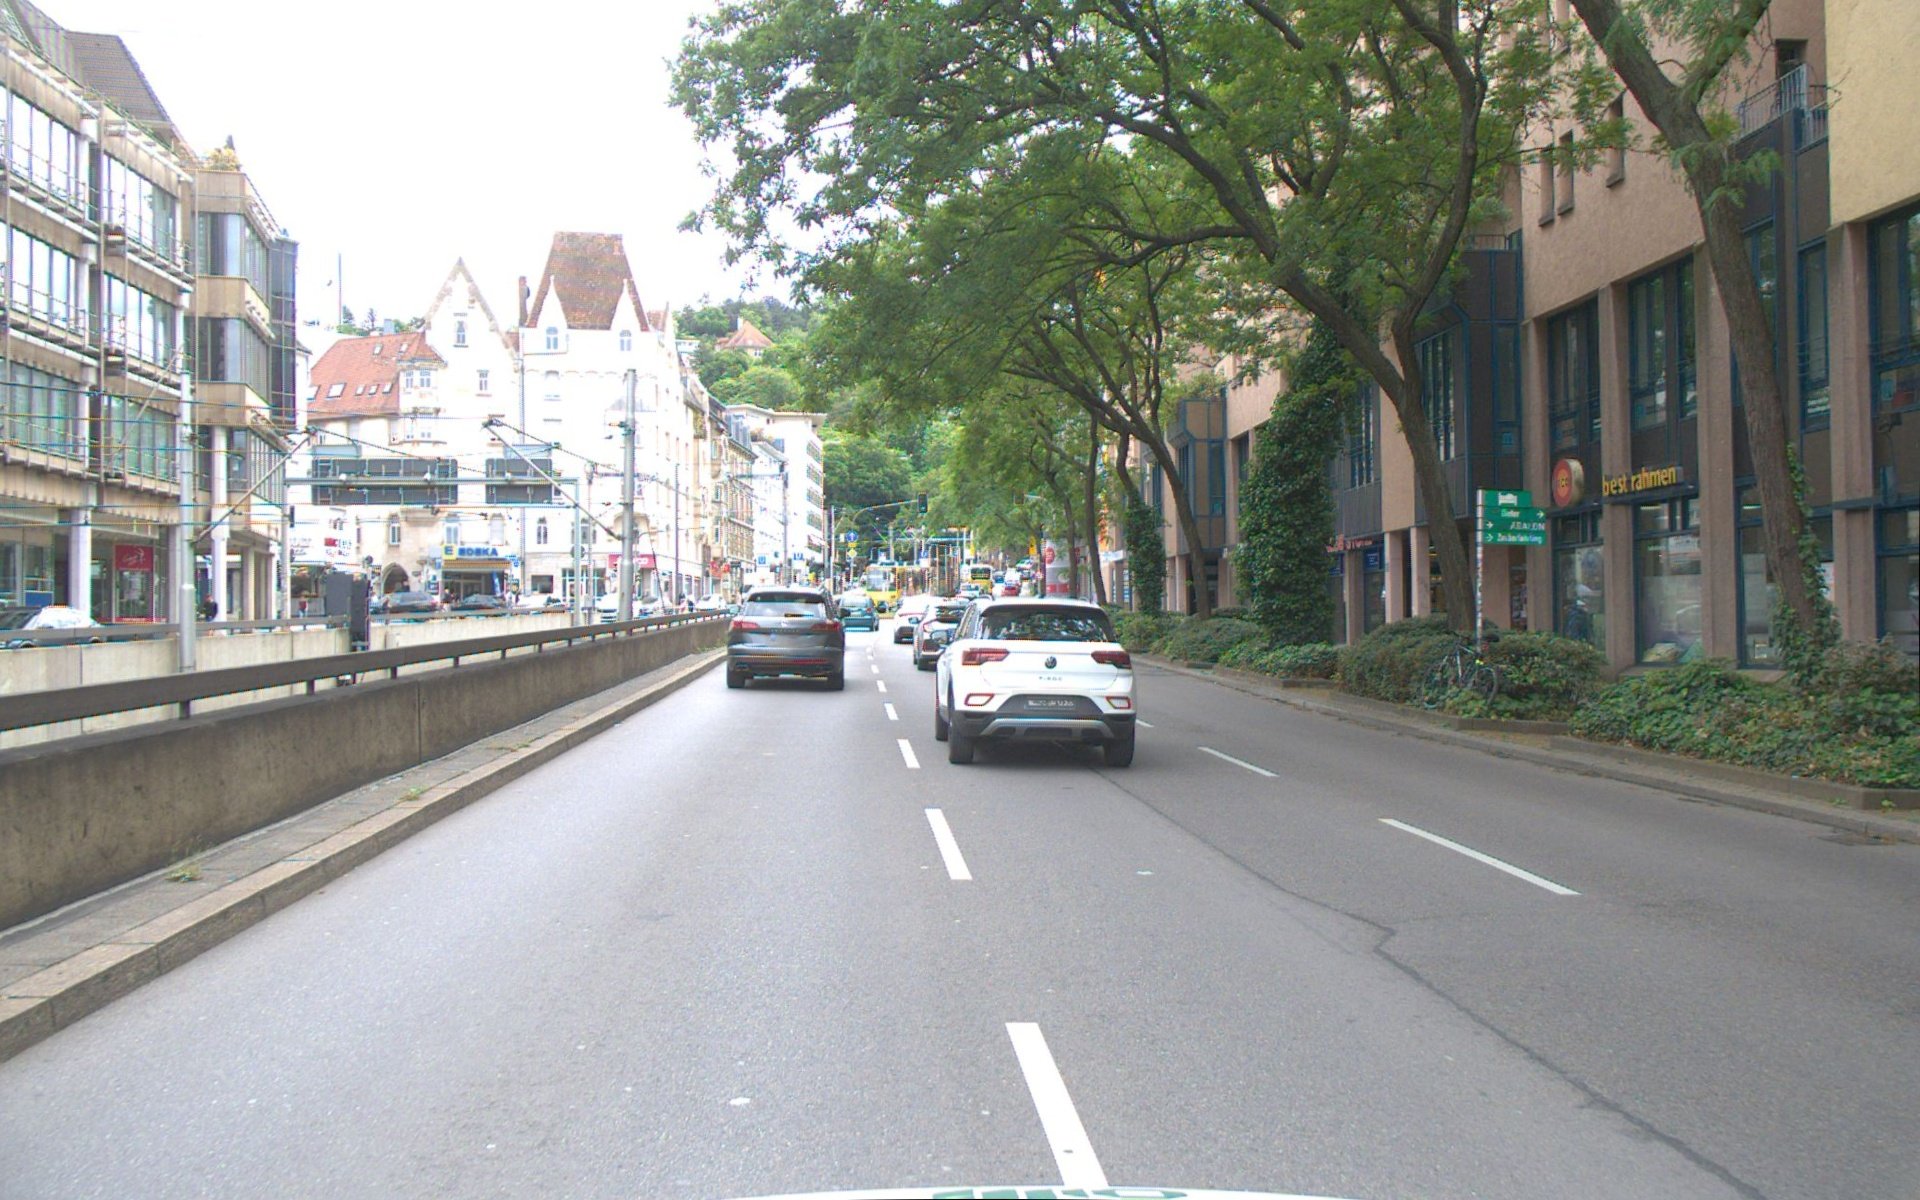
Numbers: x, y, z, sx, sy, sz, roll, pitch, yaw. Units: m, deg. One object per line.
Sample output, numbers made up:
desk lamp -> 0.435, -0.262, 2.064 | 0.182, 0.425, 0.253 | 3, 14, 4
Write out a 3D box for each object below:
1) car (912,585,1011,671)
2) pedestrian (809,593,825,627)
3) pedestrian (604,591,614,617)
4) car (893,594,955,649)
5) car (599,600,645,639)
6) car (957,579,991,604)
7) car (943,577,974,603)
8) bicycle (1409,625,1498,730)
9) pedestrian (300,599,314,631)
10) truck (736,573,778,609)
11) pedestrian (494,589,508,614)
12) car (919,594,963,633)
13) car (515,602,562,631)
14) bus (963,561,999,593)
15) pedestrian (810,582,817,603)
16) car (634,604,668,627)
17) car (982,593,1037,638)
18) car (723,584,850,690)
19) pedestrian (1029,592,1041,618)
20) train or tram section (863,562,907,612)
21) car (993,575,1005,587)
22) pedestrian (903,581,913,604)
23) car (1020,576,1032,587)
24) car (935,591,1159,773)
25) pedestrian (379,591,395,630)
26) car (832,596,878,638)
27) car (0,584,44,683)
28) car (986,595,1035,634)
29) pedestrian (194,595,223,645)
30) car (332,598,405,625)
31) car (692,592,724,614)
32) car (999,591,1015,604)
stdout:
car -> -0.027, 0.568, 35.573 | 1.847, 1.713, 4.158 | 1, 0, -4
pedestrian -> -7.400, 0.508, 85.386 | 0.748, 1.751, 0.638 | 0, 0, 2
pedestrian -> -24.742, 0.281, 116.662 | 0.563, 1.811, 0.512 | 0, 0, 8
car -> -1.234, 0.698, 54.413 | 1.847, 1.713, 4.158 | 1, 0, -4
car -> -17.991, 1.022, 88.195 | 1.798, 1.874, 4.599 | 3, -1, -6
car -> 1.193, -0.692, 139.827 | 2.314, 2.049, 5.151 | 1, 0, 6
car -> -0.086, -0.692, 114.480 | 1.845, 1.713, 4.163 | 1, 0, 3
bicycle -> 6.150, 0.944, 20.685 | 0.355, 1.222, 1.566 | -1, 0, -12
pedestrian -> -36.909, 0.827, 93.471 | 0.499, 1.811, 0.577 | 0, 0, 5
truck -> -18.390, -0.788, 149.947 | 2.219, 3.130, 7.378 | 1, 0, 5
pedestrian -> -31.986, 0.128, 115.324 | 0.765, 1.735, 0.654 | 0, 0, 8
car -> -1.097, 0.752, 92.354 | 2.317, 2.049, 5.146 | 1, 0, -2
car -> -23.517, 0.889, 92.403 | 1.630, 1.527, 4.412 | 0, 0, -2
bus -> 2.332, -2.372, 175.966 | 3.301, 3.118, 13.329 | 1, 0, 3
pedestrian -> -11.918, -0.616, 134.586 | 0.623, 1.741, 0.689 | 0, 1, -6
car -> -20.926, 1.018, 112.223 | 1.630, 1.527, 4.042 | 0, 0, -2
car -> 2.348, 0.749, 79.958 | 2.317, 2.049, 5.146 | 1, 0, -2
car -> -2.881, 0.596, 28.165 | 1.954, 1.664, 3.997 | 0, 0, -3
pedestrian -> 5.417, 0.331, 119.416 | 0.679, 1.808, 0.689 | -4, 0, -1
train or tram section -> -5.739, -0.998, 127.990 | 2.775, 3.743, 5.754 | 1, 1, 3
car -> 5.386, -2.642, 227.474 | 1.638, 1.588, 3.680 | 1, 0, 3
pedestrian -> -3.936, -0.544, 124.747 | 0.671, 1.741, 0.712 | 0, 1, 3
car -> 9.353, -2.613, 233.796 | 1.638, 1.588, 3.680 | 1, 0, 3
car -> 0.748, 0.743, 16.870 | 1.801, 1.611, 4.154 | 1, 0, -4
pedestrian -> -27.193, 0.493, 78.496 | 0.499, 1.811, 0.577 | 0, 0, 5
car -> -4.469, 0.712, 70.365 | 1.847, 1.713, 4.158 | 1, 0, -4
car -> -19.893, 0.641, 32.075 | 1.954, 1.948, 4.375 | 1, -1, -3
car -> 2.737, 0.800, 90.888 | 2.317, 2.049, 5.146 | 1, 0, -2
pedestrian -> -27.982, 0.742, 61.595 | 0.716, 1.843, 0.739 | 1, -1, -3
car -> -34.790, 0.645, 97.276 | 3.974, 1.527, 1.658 | 0, 0, -23
car -> -19.304, 0.246, 126.876 | 1.713, 1.588, 4.514 | 1, 0, 1
car -> 4.582, -0.227, 160.740 | 1.549, 1.193, 3.680 | 1, 0, 3
